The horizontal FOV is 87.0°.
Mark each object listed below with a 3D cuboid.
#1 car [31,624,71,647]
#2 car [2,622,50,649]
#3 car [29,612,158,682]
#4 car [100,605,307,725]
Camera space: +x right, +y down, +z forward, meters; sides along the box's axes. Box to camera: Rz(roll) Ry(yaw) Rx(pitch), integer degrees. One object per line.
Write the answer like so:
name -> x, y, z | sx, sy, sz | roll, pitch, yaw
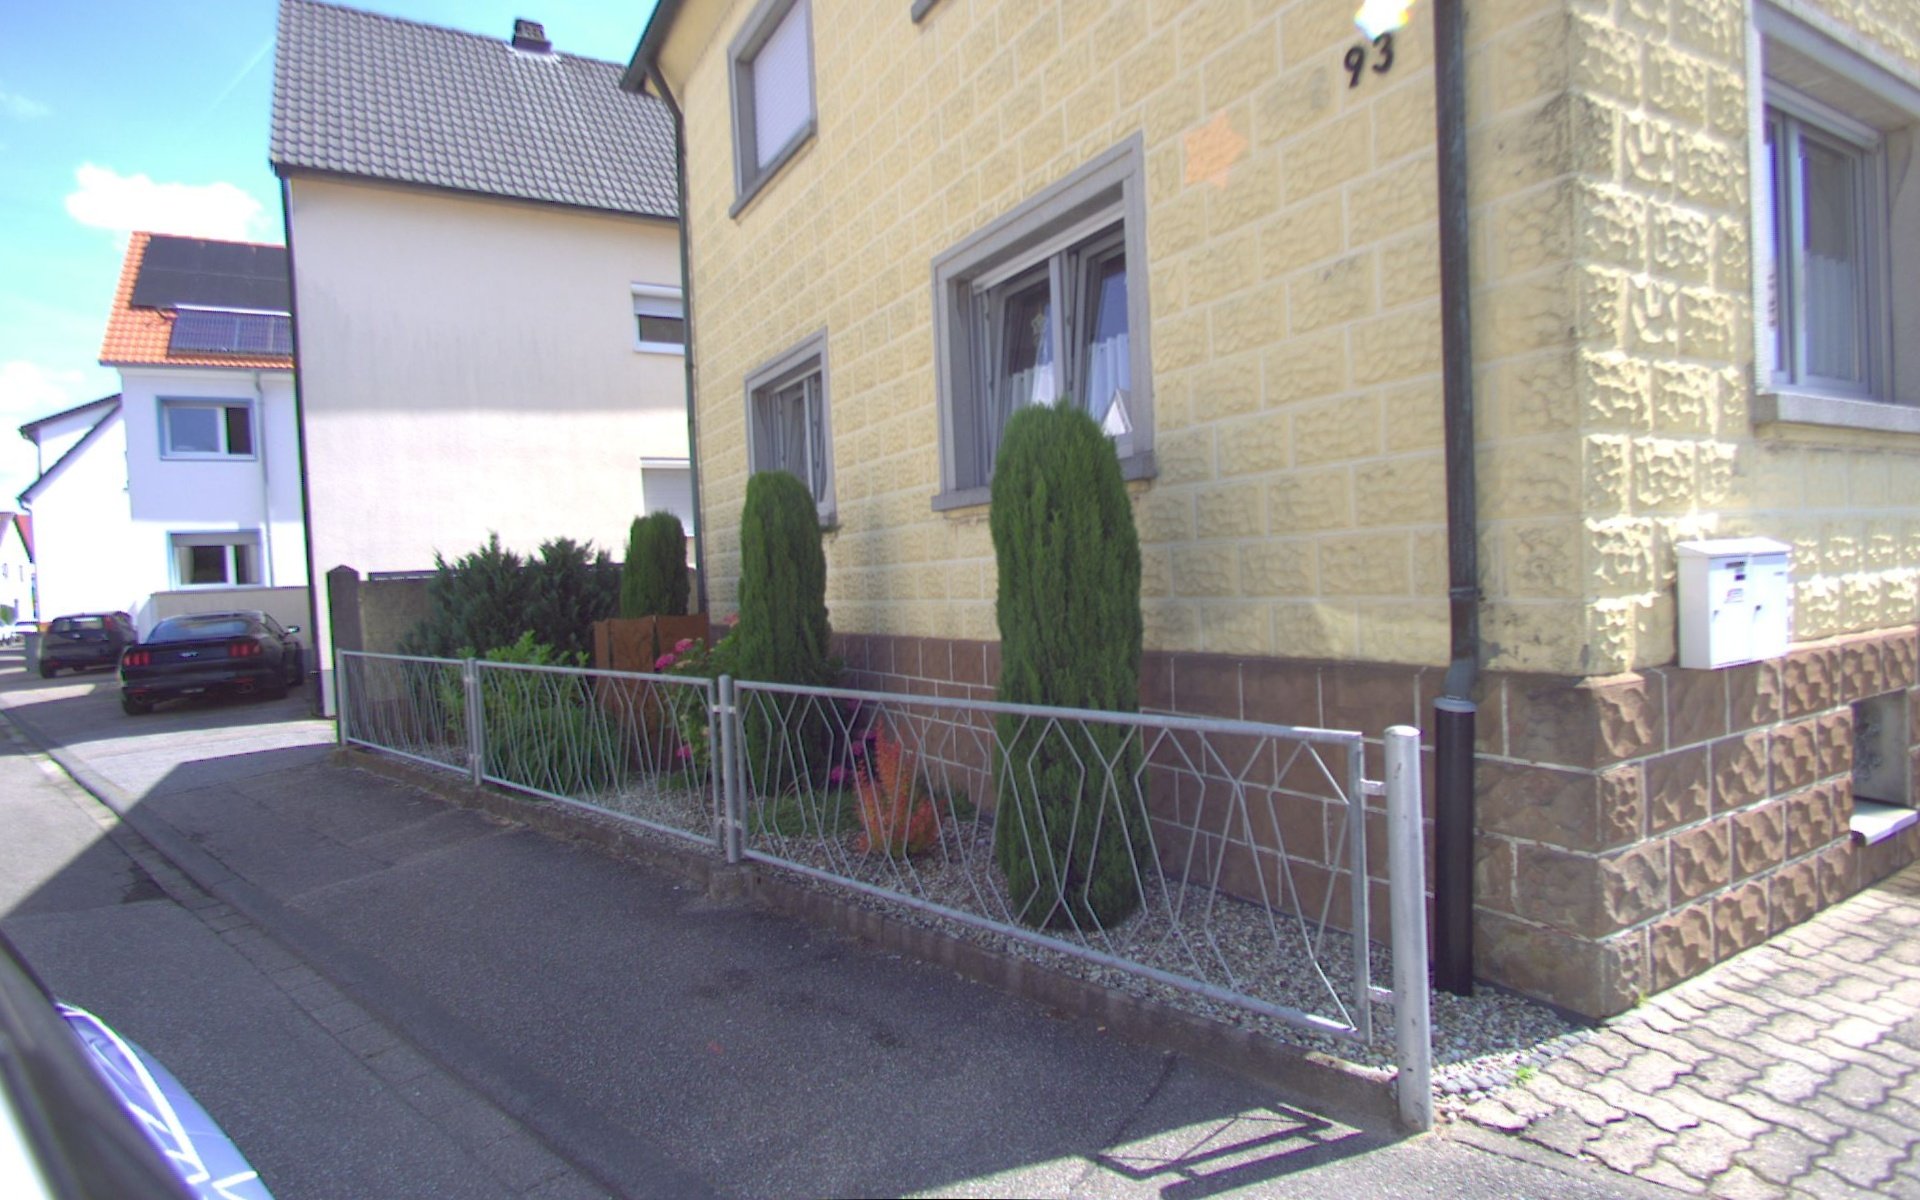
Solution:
car -> -70.184, 2.700, 78.177 | 1.757, 1.511, 4.049 | -7, 4, -36
car -> -62.626, 2.367, 67.946 | 1.757, 1.511, 4.049 | -7, 4, -36
car -> -21.343, 1.096, 25.074 | 1.615, 1.465, 3.798 | -5, 2, -29
car -> -11.363, 0.855, 15.533 | 1.745, 1.359, 4.484 | -5, 3, -27
